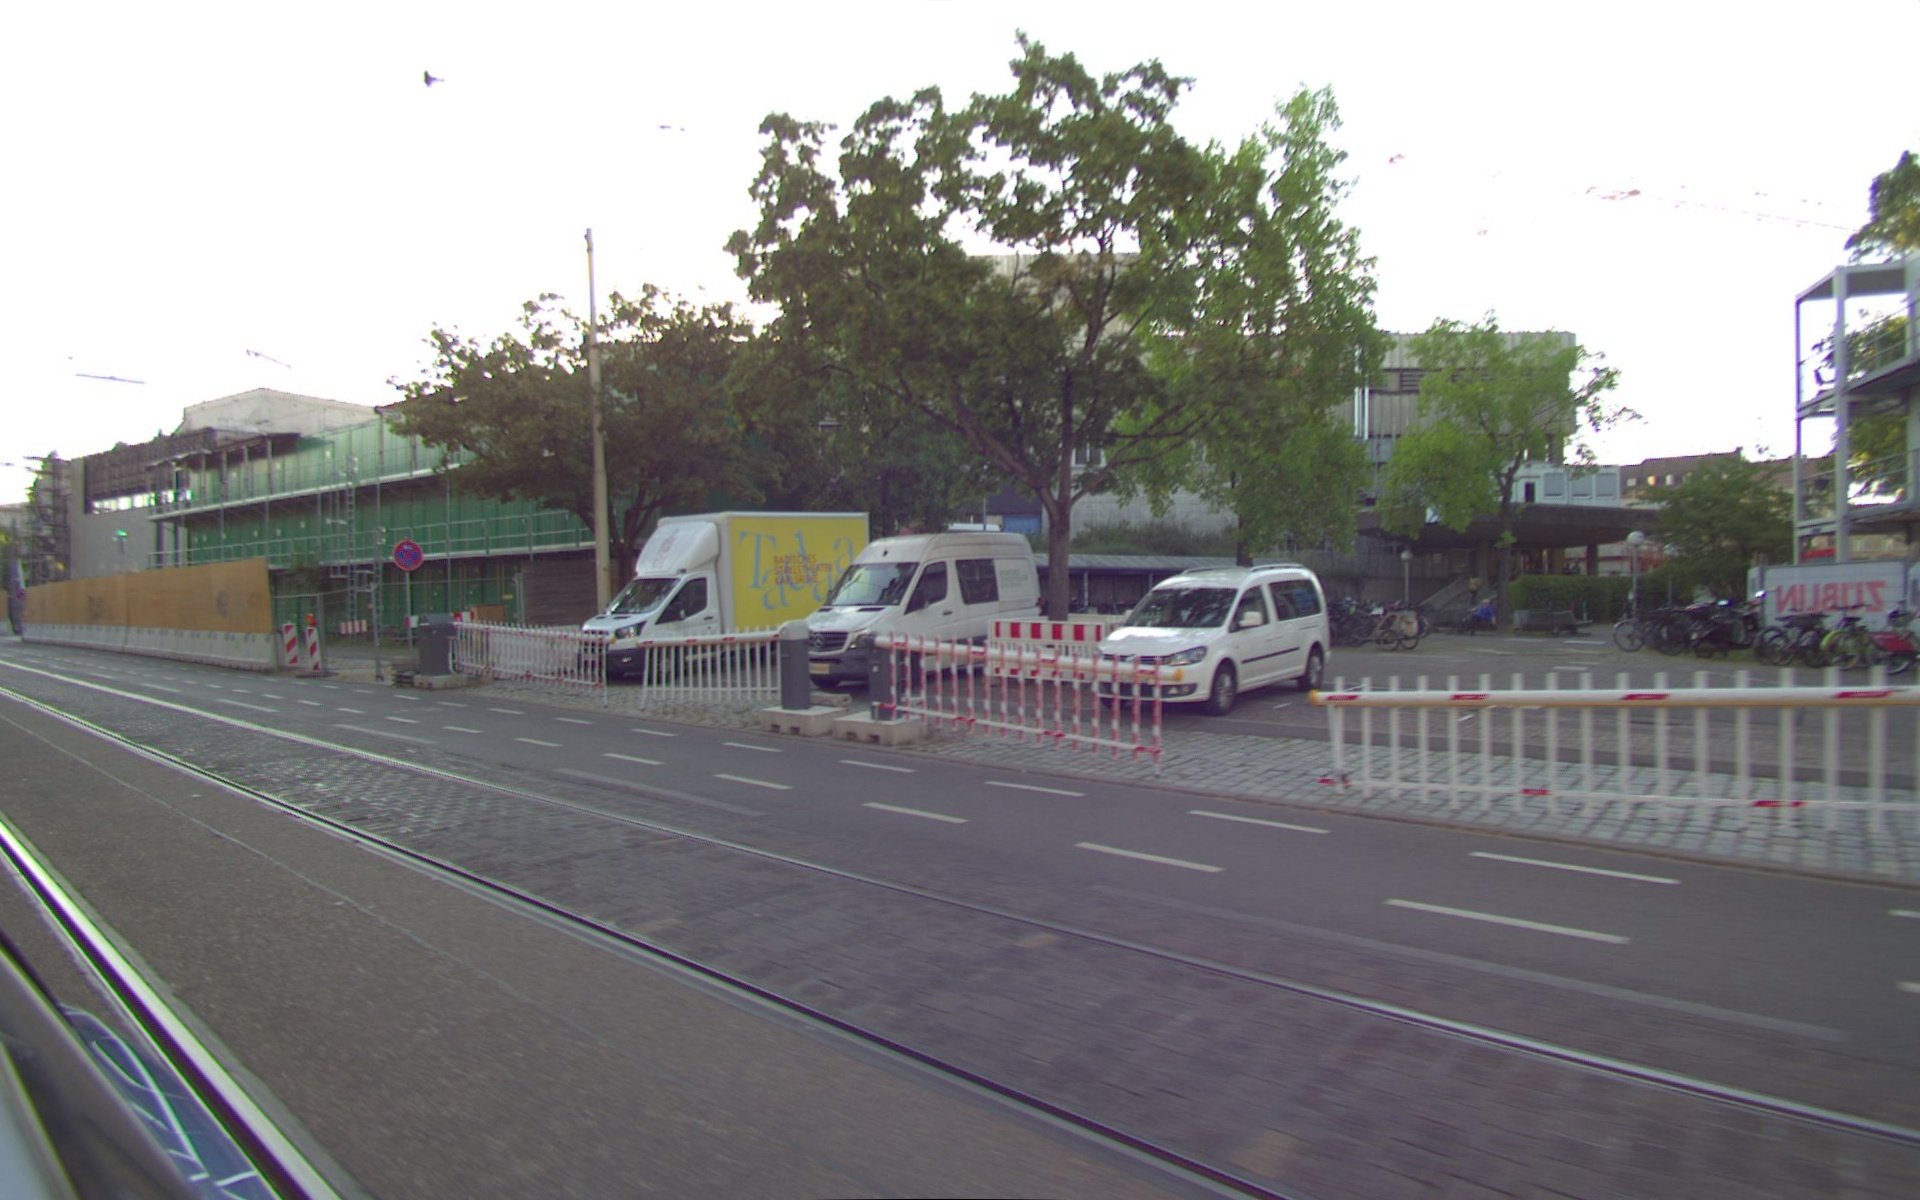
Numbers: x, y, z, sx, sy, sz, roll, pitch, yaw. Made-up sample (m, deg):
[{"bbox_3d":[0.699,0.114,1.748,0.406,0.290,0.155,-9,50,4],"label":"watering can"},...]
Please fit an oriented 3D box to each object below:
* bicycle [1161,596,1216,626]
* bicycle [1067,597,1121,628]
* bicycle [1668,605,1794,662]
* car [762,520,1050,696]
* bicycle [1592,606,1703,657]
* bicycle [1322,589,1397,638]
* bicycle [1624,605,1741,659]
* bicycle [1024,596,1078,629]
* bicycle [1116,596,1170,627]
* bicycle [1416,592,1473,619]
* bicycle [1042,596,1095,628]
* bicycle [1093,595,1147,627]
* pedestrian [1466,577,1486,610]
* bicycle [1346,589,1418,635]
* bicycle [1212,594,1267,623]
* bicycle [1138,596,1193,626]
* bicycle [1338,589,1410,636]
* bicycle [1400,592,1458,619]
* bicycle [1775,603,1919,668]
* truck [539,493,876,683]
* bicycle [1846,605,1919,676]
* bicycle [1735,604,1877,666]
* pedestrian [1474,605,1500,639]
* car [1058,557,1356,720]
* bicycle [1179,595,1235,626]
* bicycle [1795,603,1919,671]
[{"bbox_3d":[9.260,0.463,41.089,0.798,1.191,2.271,-1,-1,-32],"label":"bicycle"},{"bbox_3d":[5.204,0.494,39.532,0.798,1.191,2.271,-1,-1,-32],"label":"bicycle"},{"bbox_3d":[15.514,0.670,20.400,1.956,1.114,0.541,-1,0,12],"label":"bicycle"},{"bbox_3d":[-0.751,0.120,17.784,2.226,2.617,5.170,-2,-1,37],"label":"car"},{"bbox_3d":[15.310,0.701,22.571,1.956,1.114,0.541,-1,0,12],"label":"bicycle"},{"bbox_3d":[11.600,0.394,29.437,1.978,1.379,0.535,-1,-1,45],"label":"bicycle"},{"bbox_3d":[15.338,0.675,21.525,1.956,1.114,0.541,-1,0,12],"label":"bicycle"},{"bbox_3d":[3.461,0.489,38.672,0.798,1.191,2.271,-1,-1,-32],"label":"bicycle"},{"bbox_3d":[7.319,0.465,40.600,0.798,1.191,2.271,-1,-1,-32],"label":"bicycle"},{"bbox_3d":[22.251,0.265,46.487,0.798,1.191,2.271,-1,-1,-32],"label":"bicycle"},{"bbox_3d":[4.178,0.472,39.181,0.798,1.191,2.271,-1,-1,-32],"label":"bicycle"},{"bbox_3d":[6.282,0.434,39.890,0.798,1.191,2.271,-1,-1,-32],"label":"bicycle"},{"bbox_3d":[22.974,-0.289,45.065,0.630,1.434,0.753,-1,0,37],"label":"pedestrian"},{"bbox_3d":[13.137,0.377,31.541,1.978,1.379,0.535,-1,-1,45],"label":"bicycle"},{"bbox_3d":[11.768,0.357,42.628,0.798,1.191,2.271,-1,-1,-32],"label":"bicycle"},{"bbox_3d":[8.273,0.447,40.861,0.798,1.191,2.271,-1,-1,-32],"label":"bicycle"},{"bbox_3d":[12.591,0.383,30.821,1.978,1.379,0.535,-1,-1,45],"label":"bicycle"},{"bbox_3d":[21.306,0.277,46.030,0.798,1.191,2.271,-1,-1,-32],"label":"bicycle"},{"bbox_3d":[15.648,0.630,17.827,1.956,1.114,0.541,-1,0,12],"label":"bicycle"},{"bbox_3d":[-5.126,-0.221,21.881,2.562,3.454,6.991,-2,-1,37],"label":"truck"},{"bbox_3d":[15.498,0.639,16.191,1.956,1.114,0.541,-1,0,12],"label":"bicycle"},{"bbox_3d":[15.594,0.647,18.700,1.956,1.114,0.541,-1,0,12],"label":"bicycle"},{"bbox_3d":[16.928,0.699,32.503,0.630,1.079,0.753,-1,0,37],"label":"pedestrian"},{"bbox_3d":[3.616,0.446,14.175,2.015,1.888,4.781,-2,-1,42],"label":"car"},{"bbox_3d":[10.085,0.432,41.355,0.798,1.191,2.271,-1,-1,-32],"label":"bicycle"},{"bbox_3d":[15.474,0.628,17.174,1.956,1.114,0.541,-1,0,12],"label":"bicycle"}]
